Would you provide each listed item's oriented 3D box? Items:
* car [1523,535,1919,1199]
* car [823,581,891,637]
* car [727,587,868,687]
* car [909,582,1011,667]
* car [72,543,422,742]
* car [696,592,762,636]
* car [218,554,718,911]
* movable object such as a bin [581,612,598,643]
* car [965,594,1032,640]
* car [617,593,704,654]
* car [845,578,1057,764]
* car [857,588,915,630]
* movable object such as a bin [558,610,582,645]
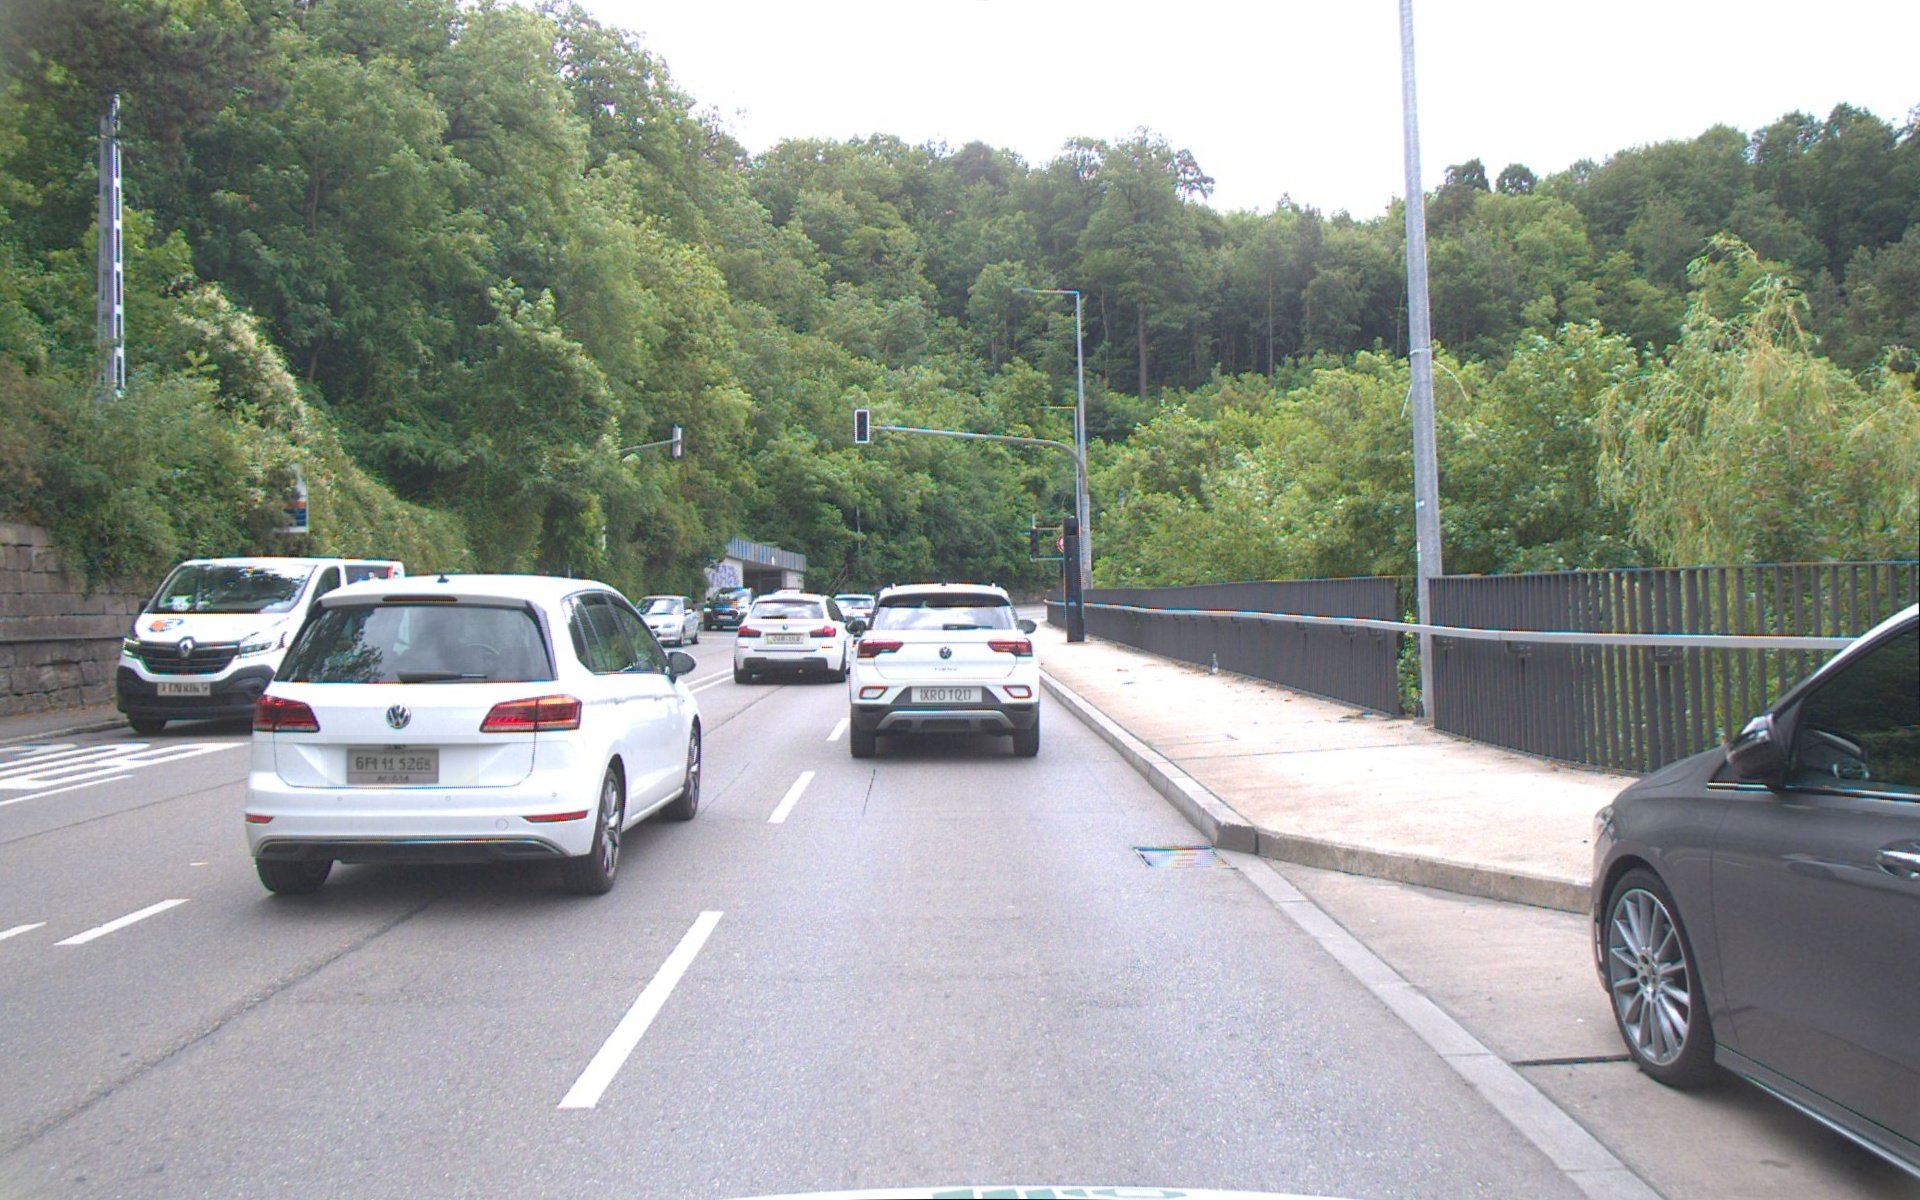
[{"bbox_3d":[2.986,0.590,3.816,1.721,1.570,4.426,-4,0,-1],"label":"car"},{"bbox_3d":[-3.122,0.265,50.795,1.824,1.623,4.000,1,0,0],"label":"car"},{"bbox_3d":[-2.718,0.578,28.721,1.952,1.585,4.681,0,0,0],"label":"car"},{"bbox_3d":[0.056,0.562,39.205,1.951,1.875,4.153,1,0,6],"label":"car"},{"bbox_3d":[-8.248,0.438,19.798,1.882,2.040,5.355,-1,0,0],"label":"car"},{"bbox_3d":[-8.737,0.511,62.869,1.902,1.576,4.248,-1,0,-1],"label":"car"},{"bbox_3d":[-2.508,0.589,9.529,1.685,1.581,4.274,0,0,-1],"label":"car"},{"bbox_3d":[-11.702,0.875,52.211,0.418,0.966,0.479,1,-1,-2],"label":"movable object such as a bin"},{"bbox_3d":[1.804,0.799,76.561,1.952,2.049,4.001,1,0,19],"label":"car"},{"bbox_3d":[-8.468,0.627,47.016,1.642,1.467,4.234,1,2,1],"label":"car"},{"bbox_3d":[-0.213,0.610,16.261,1.778,1.566,4.005,-1,0,-4],"label":"car"},{"bbox_3d":[-3.161,0.366,71.177,1.951,1.771,4.003,0,0,5],"label":"car"},{"bbox_3d":[-12.272,0.861,52.087,0.629,1.086,0.556,1,-1,-2],"label":"movable object such as a bin"}]
